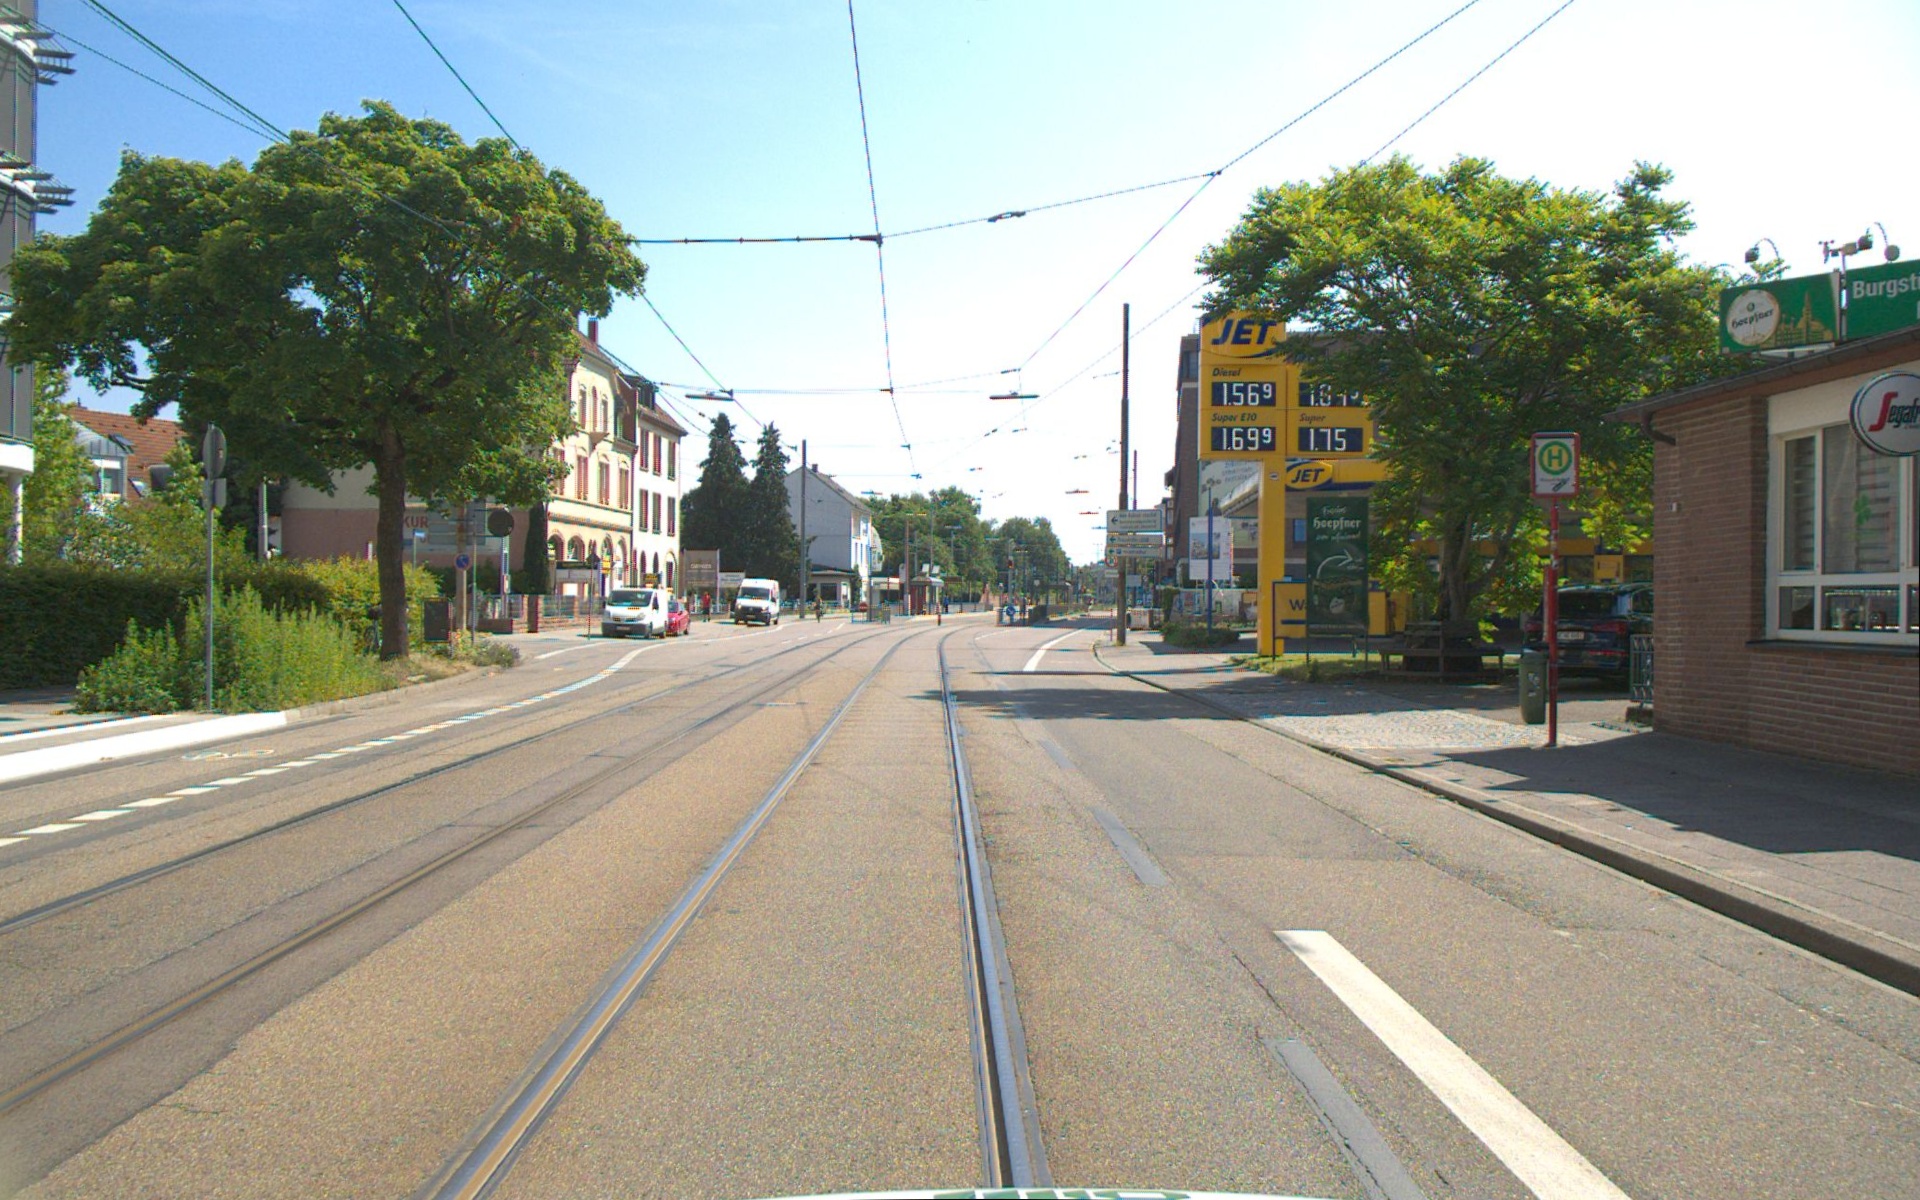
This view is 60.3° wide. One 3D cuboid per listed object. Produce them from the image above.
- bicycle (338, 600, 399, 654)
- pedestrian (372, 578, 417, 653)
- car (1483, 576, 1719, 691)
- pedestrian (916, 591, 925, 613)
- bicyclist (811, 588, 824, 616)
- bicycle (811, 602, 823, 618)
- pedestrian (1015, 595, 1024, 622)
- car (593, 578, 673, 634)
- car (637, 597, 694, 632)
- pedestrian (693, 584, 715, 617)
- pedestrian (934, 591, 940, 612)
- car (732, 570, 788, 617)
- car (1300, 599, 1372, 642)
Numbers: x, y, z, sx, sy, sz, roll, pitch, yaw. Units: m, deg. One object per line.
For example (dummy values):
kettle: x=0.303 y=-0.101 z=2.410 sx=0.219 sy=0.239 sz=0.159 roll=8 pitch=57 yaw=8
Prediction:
bicycle: x=-12.834 y=0.566 z=35.931 sx=0.623 sy=1.137 sz=2.066 roll=0 pitch=0 yaw=-1
pedestrian: x=-12.287 y=0.326 z=35.947 sx=0.672 sy=1.590 sz=0.987 roll=2 pitch=0 yaw=-5
car: x=10.341 y=0.471 z=26.504 sx=1.985 sy=1.669 sz=4.630 roll=0 pitch=0 yaw=43
pedestrian: x=-3.088 y=0.144 z=128.208 sx=0.691 sy=1.719 sz=0.416 roll=0 pitch=0 yaw=-1
bicyclist: x=-8.886 y=0.127 z=102.997 sx=0.701 sy=1.754 sz=0.988 roll=0 pitch=0 yaw=-1
bicycle: x=-8.897 y=0.612 z=103.029 sx=0.596 sy=1.001 sz=2.164 roll=0 pitch=0 yaw=-1
pedestrian: x=3.955 y=0.545 z=109.680 sx=0.544 sy=1.791 sz=0.793 roll=0 pitch=0 yaw=1
car: x=-12.713 y=0.226 z=64.557 sx=2.041 sy=2.049 sz=4.909 roll=1 pitch=0 yaw=1
car: x=-12.595 y=0.593 z=70.901 sx=1.685 sy=1.431 sz=4.001 roll=0 pitch=0 yaw=0
pedestrian: x=-14.430 y=0.007 z=93.382 sx=0.922 sy=1.847 sz=1.131 roll=0 pitch=0 yaw=9
pedestrian: x=-1.920 y=0.127 z=139.047 sx=0.407 sy=1.719 sz=0.706 roll=0 pitch=0 yaw=-7
car: x=-11.420 y=-0.407 z=94.818 sx=2.281 sy=2.580 sz=6.507 roll=0 pitch=1 yaw=1
car: x=13.562 y=0.696 z=59.422 sx=1.720 sy=1.481 sz=4.407 roll=0 pitch=0 yaw=24
